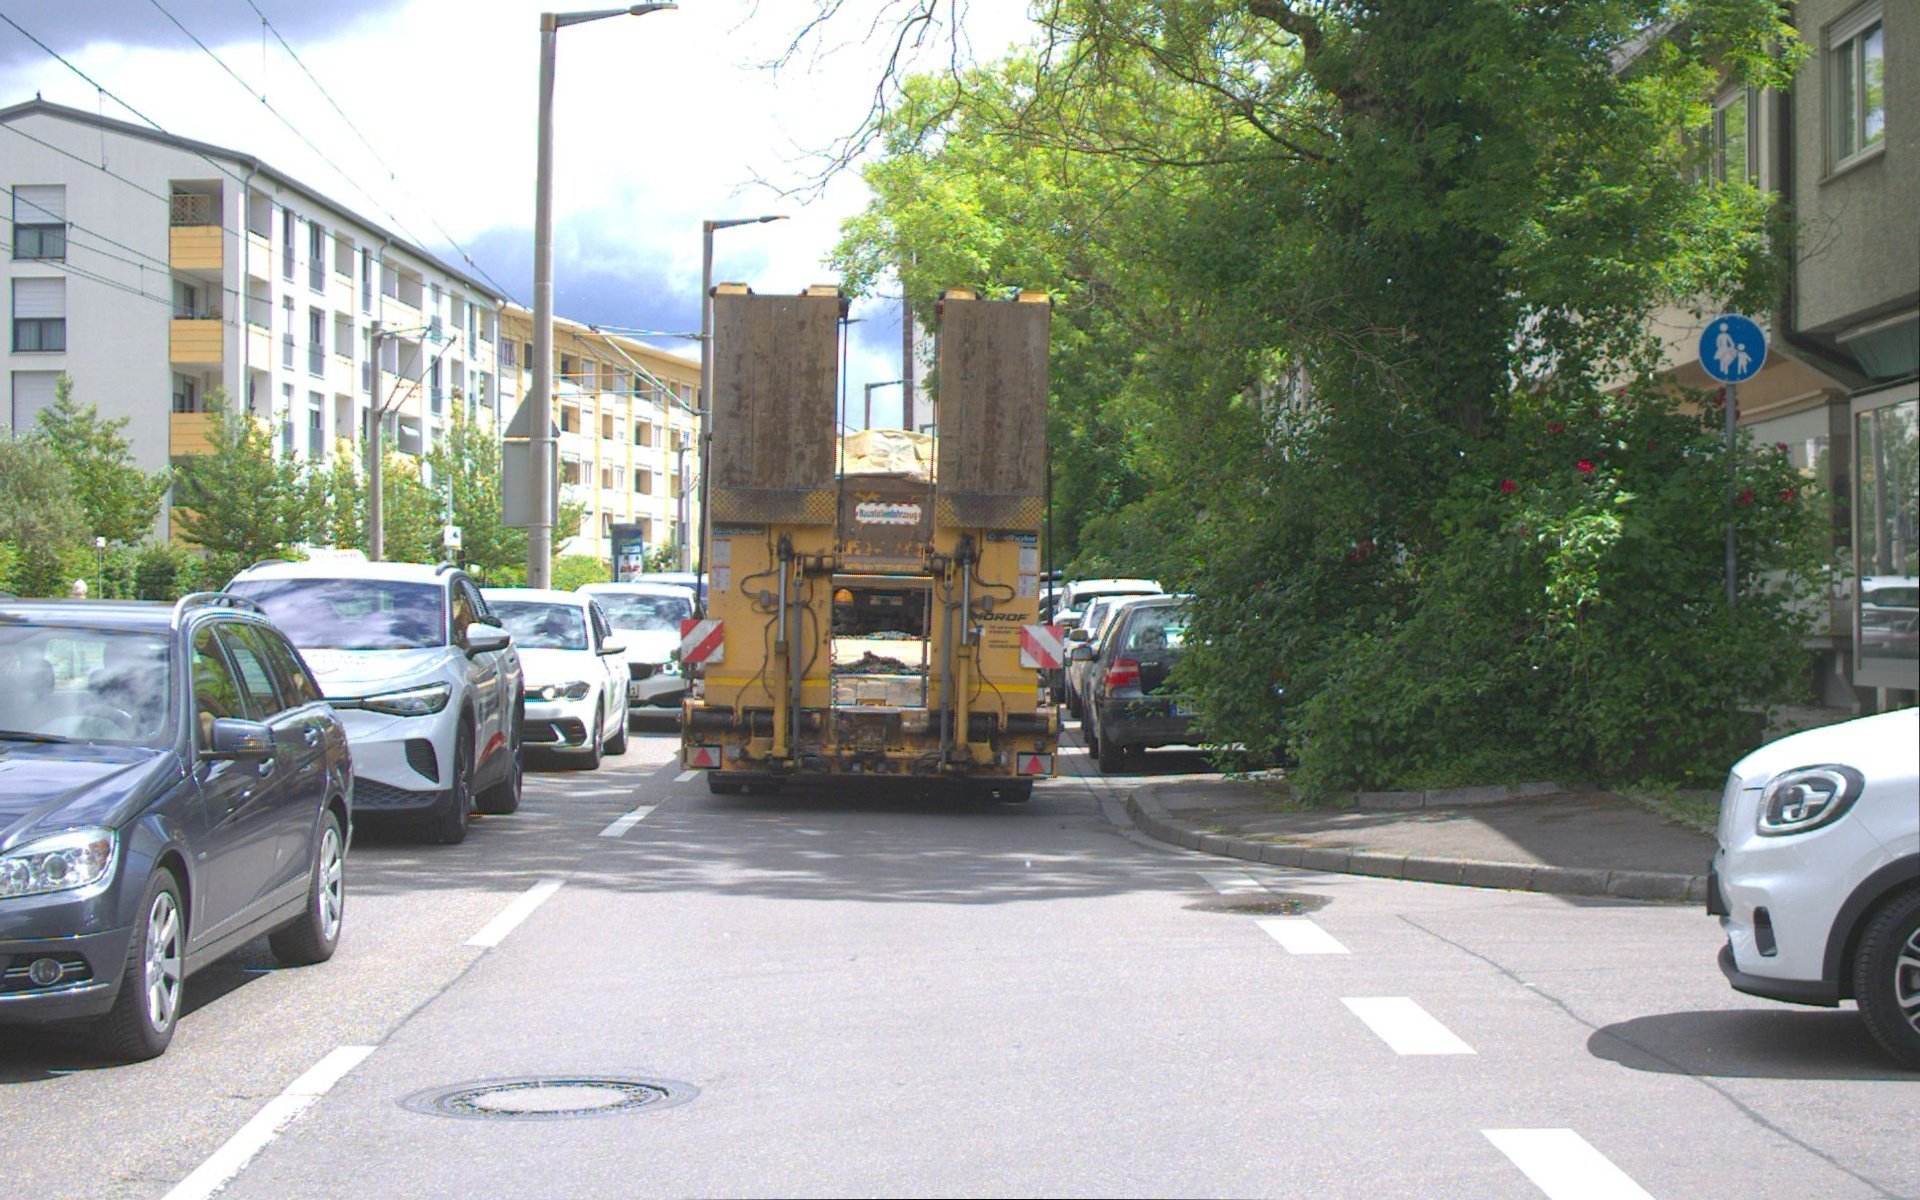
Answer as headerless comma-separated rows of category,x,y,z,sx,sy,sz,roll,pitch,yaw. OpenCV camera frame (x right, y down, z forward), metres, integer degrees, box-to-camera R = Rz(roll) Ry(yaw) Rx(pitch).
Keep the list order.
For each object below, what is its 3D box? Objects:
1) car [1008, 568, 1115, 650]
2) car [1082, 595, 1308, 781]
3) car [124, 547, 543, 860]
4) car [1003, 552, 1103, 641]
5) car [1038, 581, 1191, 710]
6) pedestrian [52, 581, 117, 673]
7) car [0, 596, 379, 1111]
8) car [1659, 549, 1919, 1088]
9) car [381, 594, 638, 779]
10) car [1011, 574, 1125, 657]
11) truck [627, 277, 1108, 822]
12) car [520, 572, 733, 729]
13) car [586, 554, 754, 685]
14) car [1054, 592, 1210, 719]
car,1.897,0.153,65.203,1.771,1.437,3.900,-2,0,-1
car,1.978,0.712,29.891,1.814,1.458,4.040,1,1,2
car,-3.674,0.542,20.910,1.857,1.685,4.434,0,1,-2
car,1.958,-0.086,71.814,2.015,1.782,5.075,0,0,2
car,2.061,0.584,46.960,1.837,1.638,4.430,1,1,0
pedestrian,-14.396,0.433,56.557,0.796,1.478,0.996,1,0,0
car,-3.357,0.732,12.201,1.811,1.440,4.465,0,1,0
car,4.048,0.600,10.663,3.638,1.566,1.841,-1,0,12
car,-3.712,0.678,28.877,1.746,1.401,3.940,0,1,-2
car,1.911,0.248,59.781,1.771,1.345,3.999,-2,0,4
truck,-0.649,-0.394,28.892,3.124,3.552,12.460,1,1,0
car,-3.475,0.485,36.610,1.817,1.497,4.837,2,1,-1
car,-3.822,0.225,45.988,1.817,1.608,4.602,2,1,0
car,2.045,0.636,41.880,1.725,1.421,4.446,0,1,1
